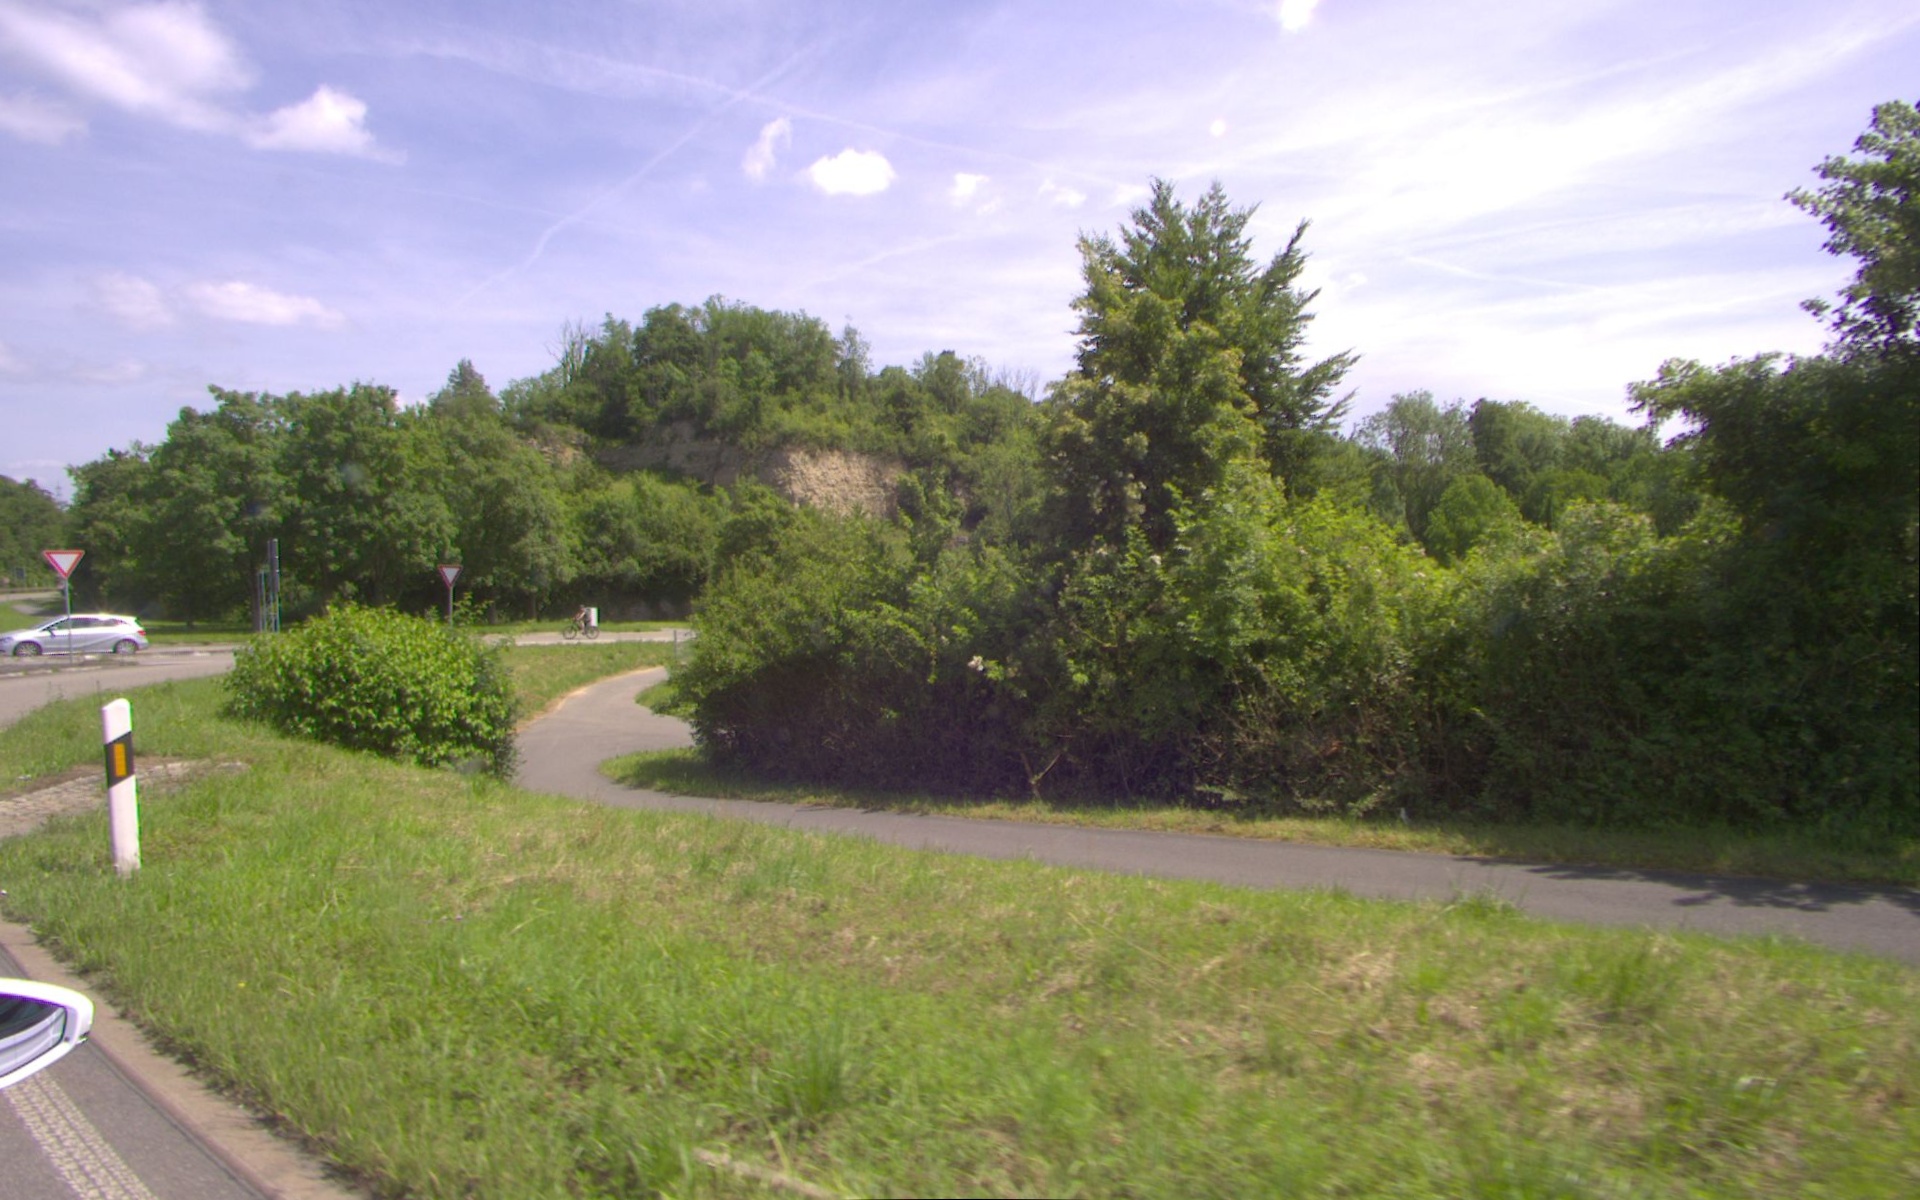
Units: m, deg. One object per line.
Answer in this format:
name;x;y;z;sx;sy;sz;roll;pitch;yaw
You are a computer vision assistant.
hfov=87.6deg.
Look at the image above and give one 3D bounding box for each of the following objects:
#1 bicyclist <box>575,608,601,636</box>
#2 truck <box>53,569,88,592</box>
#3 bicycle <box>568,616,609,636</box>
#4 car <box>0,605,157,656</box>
bicyclist;-19.435;1.161;52.304;0.784;1.466;1.004;-2;-2;30
truck;-123.238;-2.655;138.771;2.828;2.986;7.056;0;-1;-35
bicycle;-19.401;1.392;52.348;0.785;1.008;1.987;-2;-3;30
car;-32.193;1.134;36.376;1.976;1.740;4.413;-3;-3;37
